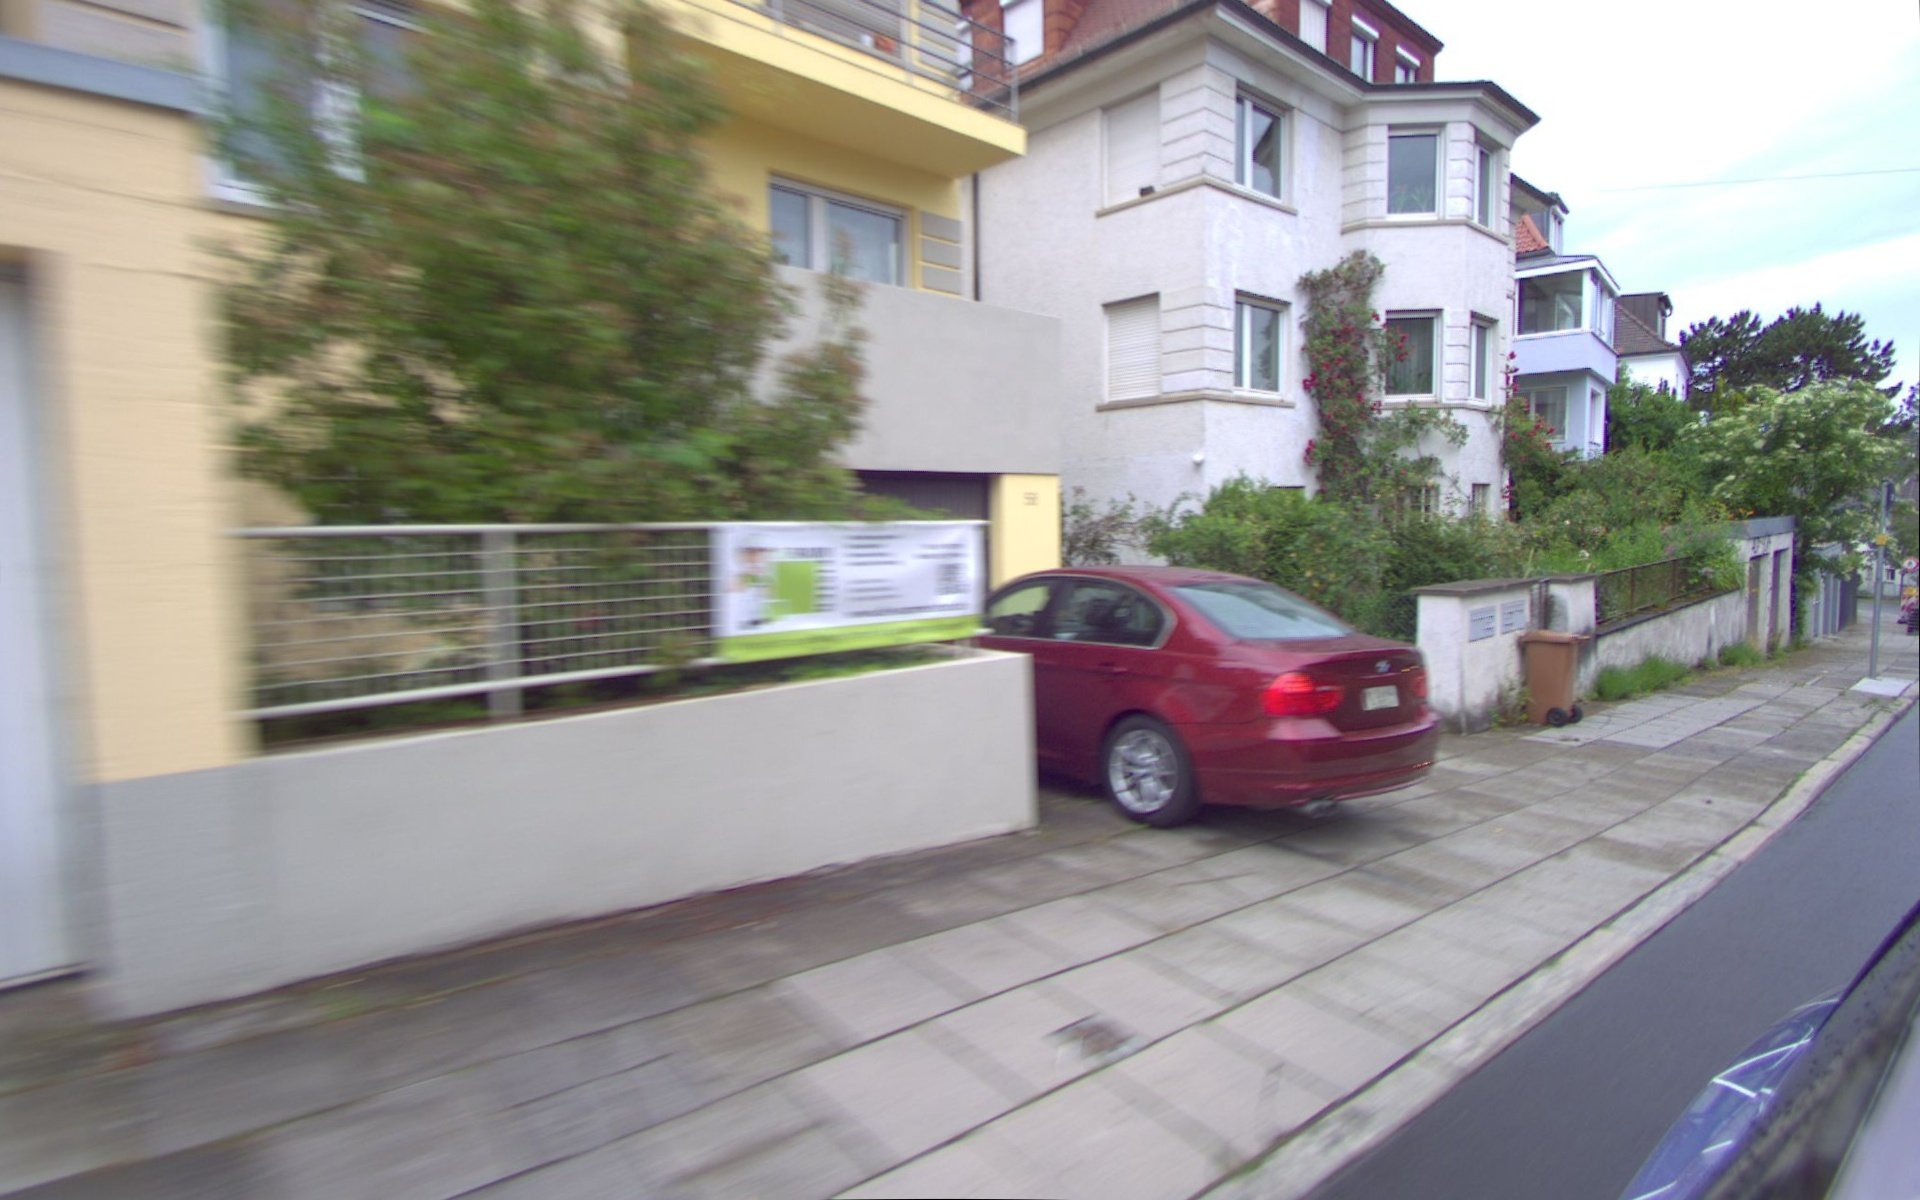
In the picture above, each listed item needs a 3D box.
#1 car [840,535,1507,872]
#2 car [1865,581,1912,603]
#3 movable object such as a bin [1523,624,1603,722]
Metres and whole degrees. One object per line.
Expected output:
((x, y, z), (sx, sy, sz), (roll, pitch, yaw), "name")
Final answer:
((1.069, 0.376, 6.825), (1.800, 1.423, 4.184), (1, 4, -38), "car")
((81.261, -0.697, 88.604), (1.980, 1.738, 3.962), (1, -2, 26), "car")
((6.033, 0.713, 10.126), (0.518, 0.911, 0.569), (0, 1, -44), "movable object such as a bin")
